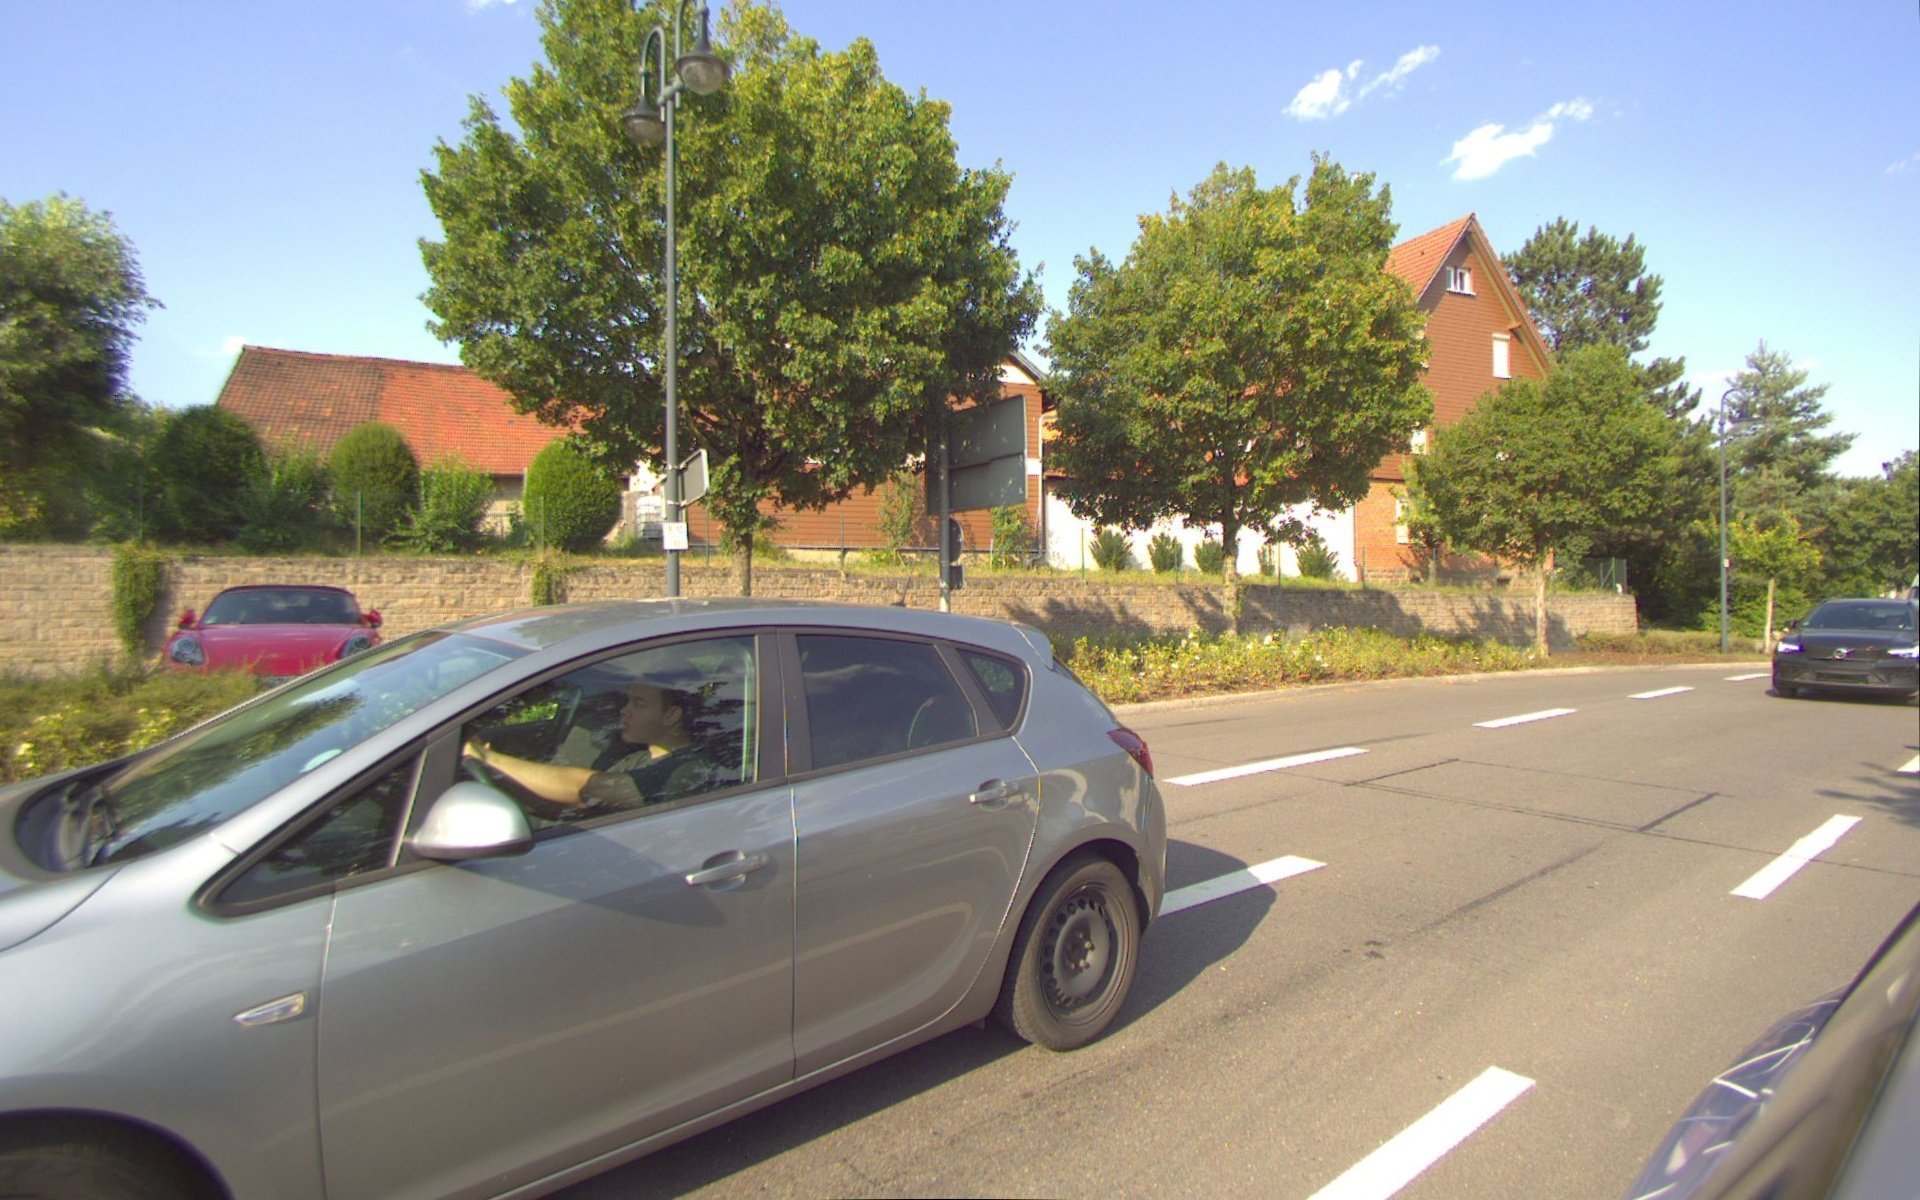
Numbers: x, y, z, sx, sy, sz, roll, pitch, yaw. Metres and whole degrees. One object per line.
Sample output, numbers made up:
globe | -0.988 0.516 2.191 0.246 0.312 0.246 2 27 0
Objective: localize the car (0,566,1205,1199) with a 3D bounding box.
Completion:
car | -1.213 0.670 2.955 4.095 1.460 1.746 0 0 -42

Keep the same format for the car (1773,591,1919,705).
car | 14.701 0.672 16.209 4.054 1.629 1.885 0 0 -40

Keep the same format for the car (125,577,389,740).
car | -6.858 0.456 10.211 1.817 1.288 4.003 0 0 -31

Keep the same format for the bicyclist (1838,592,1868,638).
bicyclist | 33.450 0.549 37.917 0.719 1.699 0.605 0 0 -28

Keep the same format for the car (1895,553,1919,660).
car | 26.091 0.153 25.962 6.083 2.579 2.369 0 0 -40
